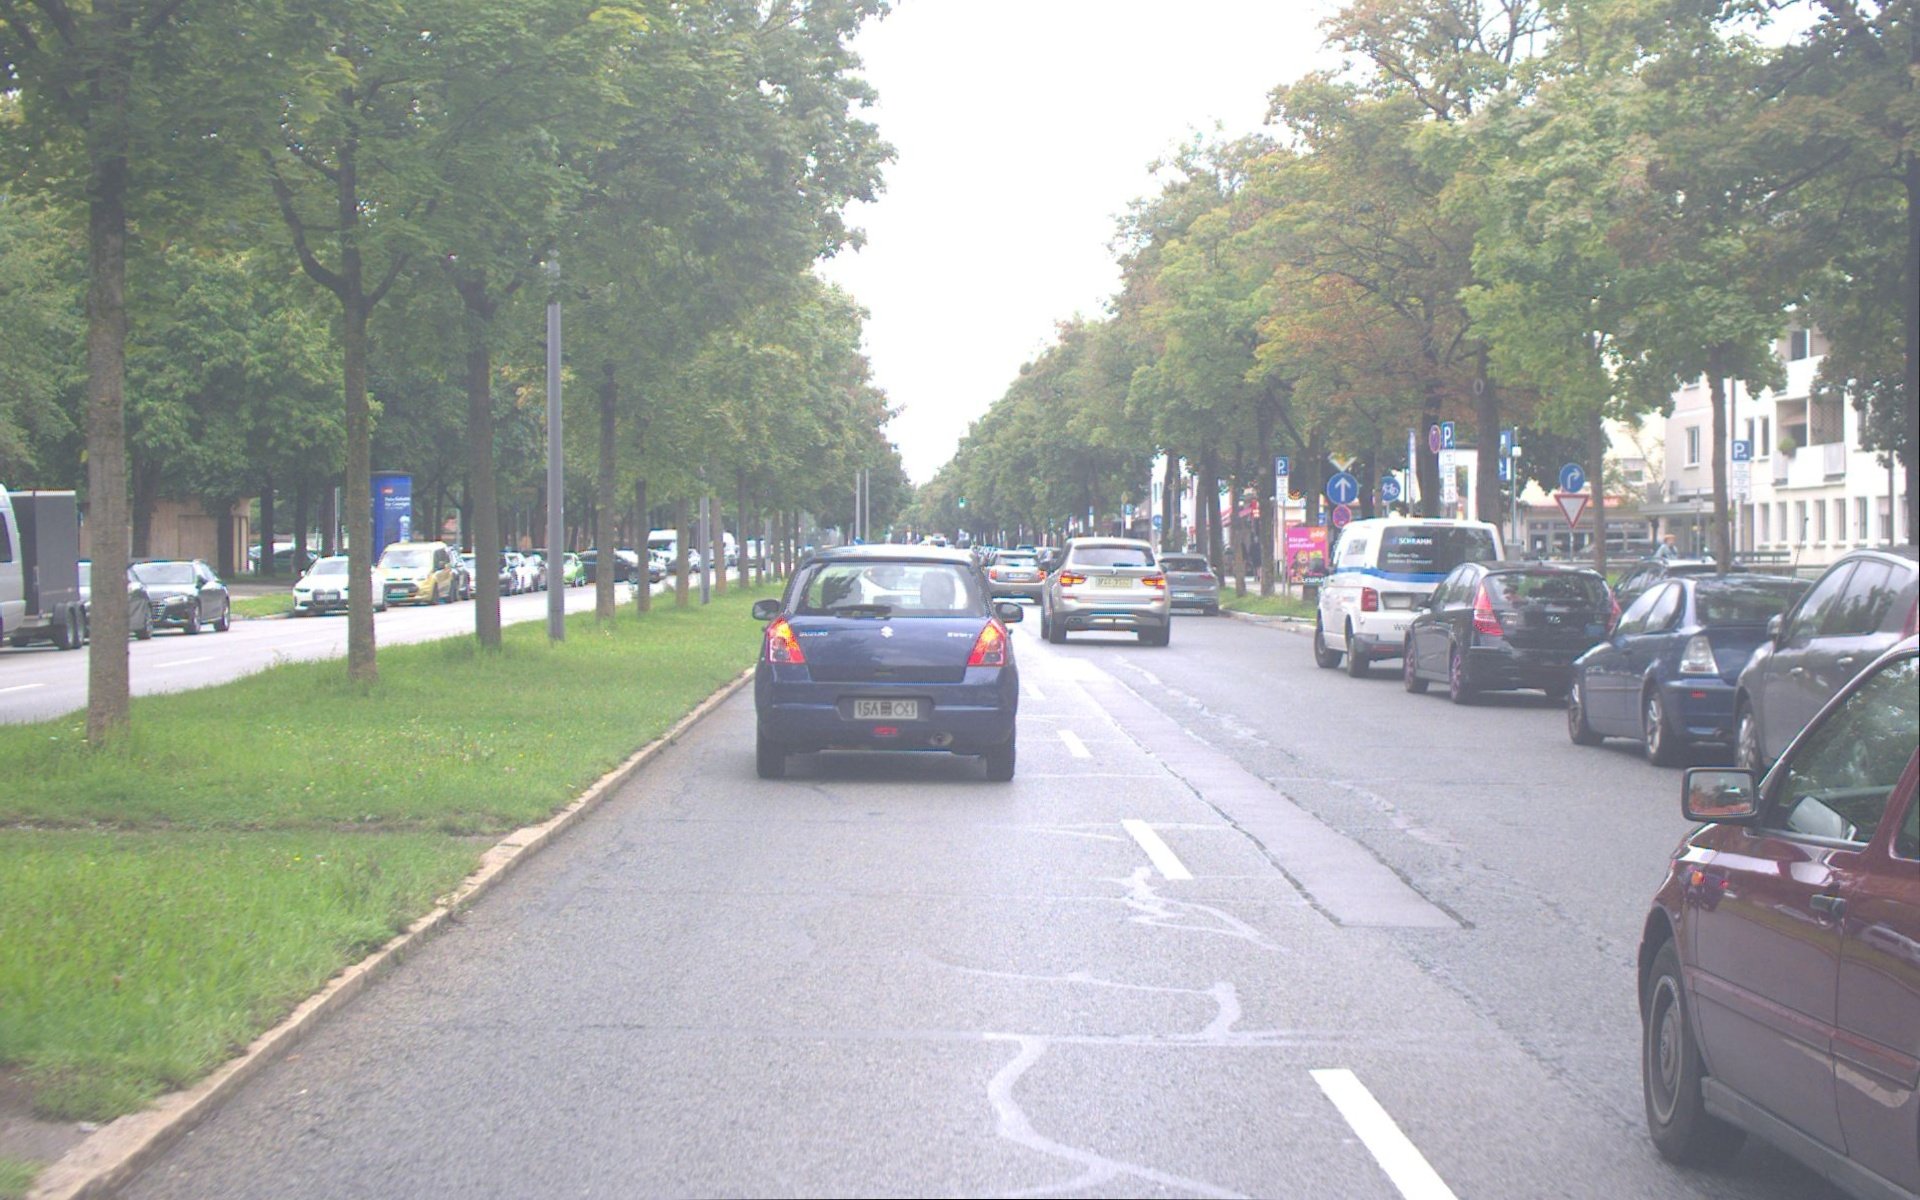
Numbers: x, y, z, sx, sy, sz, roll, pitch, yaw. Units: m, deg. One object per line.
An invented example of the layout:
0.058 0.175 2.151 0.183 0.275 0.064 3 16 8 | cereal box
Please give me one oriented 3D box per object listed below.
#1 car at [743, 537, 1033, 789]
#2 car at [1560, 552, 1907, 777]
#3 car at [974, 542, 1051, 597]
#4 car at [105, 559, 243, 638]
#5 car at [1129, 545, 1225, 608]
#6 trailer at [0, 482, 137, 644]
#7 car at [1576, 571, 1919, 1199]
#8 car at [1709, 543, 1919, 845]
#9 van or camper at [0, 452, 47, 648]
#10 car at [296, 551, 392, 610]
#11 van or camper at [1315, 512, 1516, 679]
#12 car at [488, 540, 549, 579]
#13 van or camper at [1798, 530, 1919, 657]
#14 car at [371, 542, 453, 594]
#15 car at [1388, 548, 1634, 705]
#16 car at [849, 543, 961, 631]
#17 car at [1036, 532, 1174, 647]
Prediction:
-0.516 0.355 23.259 1.789 1.550 4.001 0 1 -2 | car
5.770 0.420 26.142 1.684 1.548 4.306 0 1 0 | car
1.379 -0.829 92.244 1.850 1.442 4.098 0 1 -2 | car
-15.140 -0.058 66.384 1.850 1.442 4.098 0 1 -2 | car
5.079 -0.568 81.016 1.850 1.442 4.098 0 1 -2 | car
-15.213 -0.632 56.388 2.106 2.531 5.577 0 1 0 | trailer
2.491 0.686 7.197 1.622 1.449 3.950 0 1 -1 | car
5.842 0.494 20.745 1.684 1.620 4.306 1 1 0 | car
-14.974 -0.697 48.288 2.309 2.823 7.494 0 1 0 | van or camper
-15.650 -0.517 87.490 1.850 1.442 4.098 0 1 -2 | car
5.605 -0.090 42.797 1.944 1.968 4.306 0 1 0 | van or camper
-16.406 -1.519 127.879 1.850 1.442 4.098 0 1 -2 | car
14.947 -0.139 55.181 1.944 1.968 4.306 0 1 0 | van or camper
-15.634 -0.924 98.237 1.850 1.442 4.098 0 1 -2 | car
5.737 0.232 36.242 1.684 1.548 4.307 0 1 -3 | car
-0.976 -0.248 59.016 1.850 1.442 4.098 0 1 -2 | car
2.252 -0.197 54.313 1.850 1.737 4.098 0 1 -2 | car
